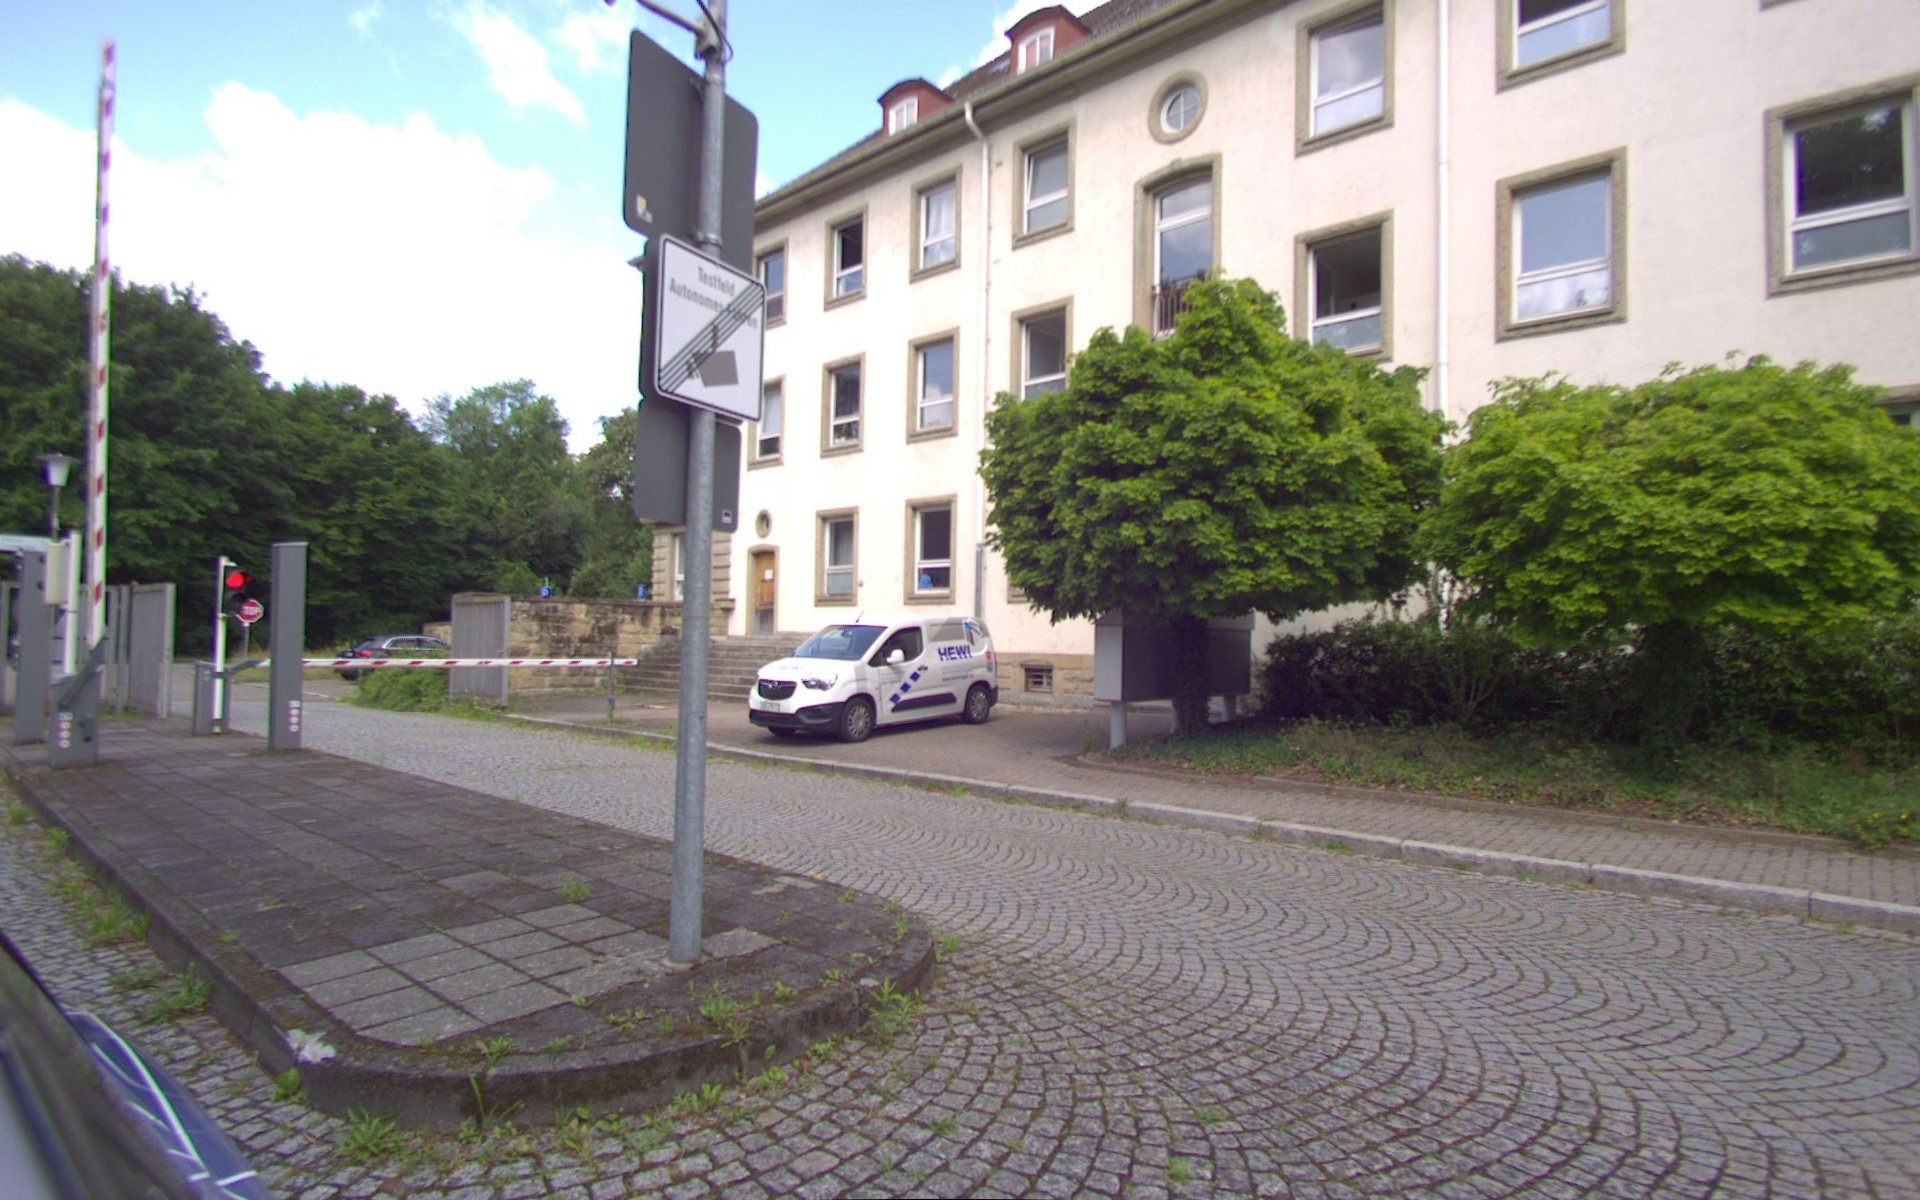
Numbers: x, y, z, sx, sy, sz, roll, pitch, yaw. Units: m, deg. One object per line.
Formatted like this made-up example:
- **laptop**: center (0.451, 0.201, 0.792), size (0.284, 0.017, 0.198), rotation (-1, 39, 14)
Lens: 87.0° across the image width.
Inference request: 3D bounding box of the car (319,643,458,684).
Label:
- **car**: center (-20.091, 2.195, 35.666), size (3.939, 1.357, 1.804), rotation (2, -3, -42)

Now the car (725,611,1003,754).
- **car**: center (-1.333, 1.116, 15.661), size (1.819, 1.819, 4.258), rotation (-1, 0, 39)

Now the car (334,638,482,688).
- **car**: center (-18.061, 2.024, 33.201), size (3.939, 1.529, 1.804), rotation (2, -3, -42)
